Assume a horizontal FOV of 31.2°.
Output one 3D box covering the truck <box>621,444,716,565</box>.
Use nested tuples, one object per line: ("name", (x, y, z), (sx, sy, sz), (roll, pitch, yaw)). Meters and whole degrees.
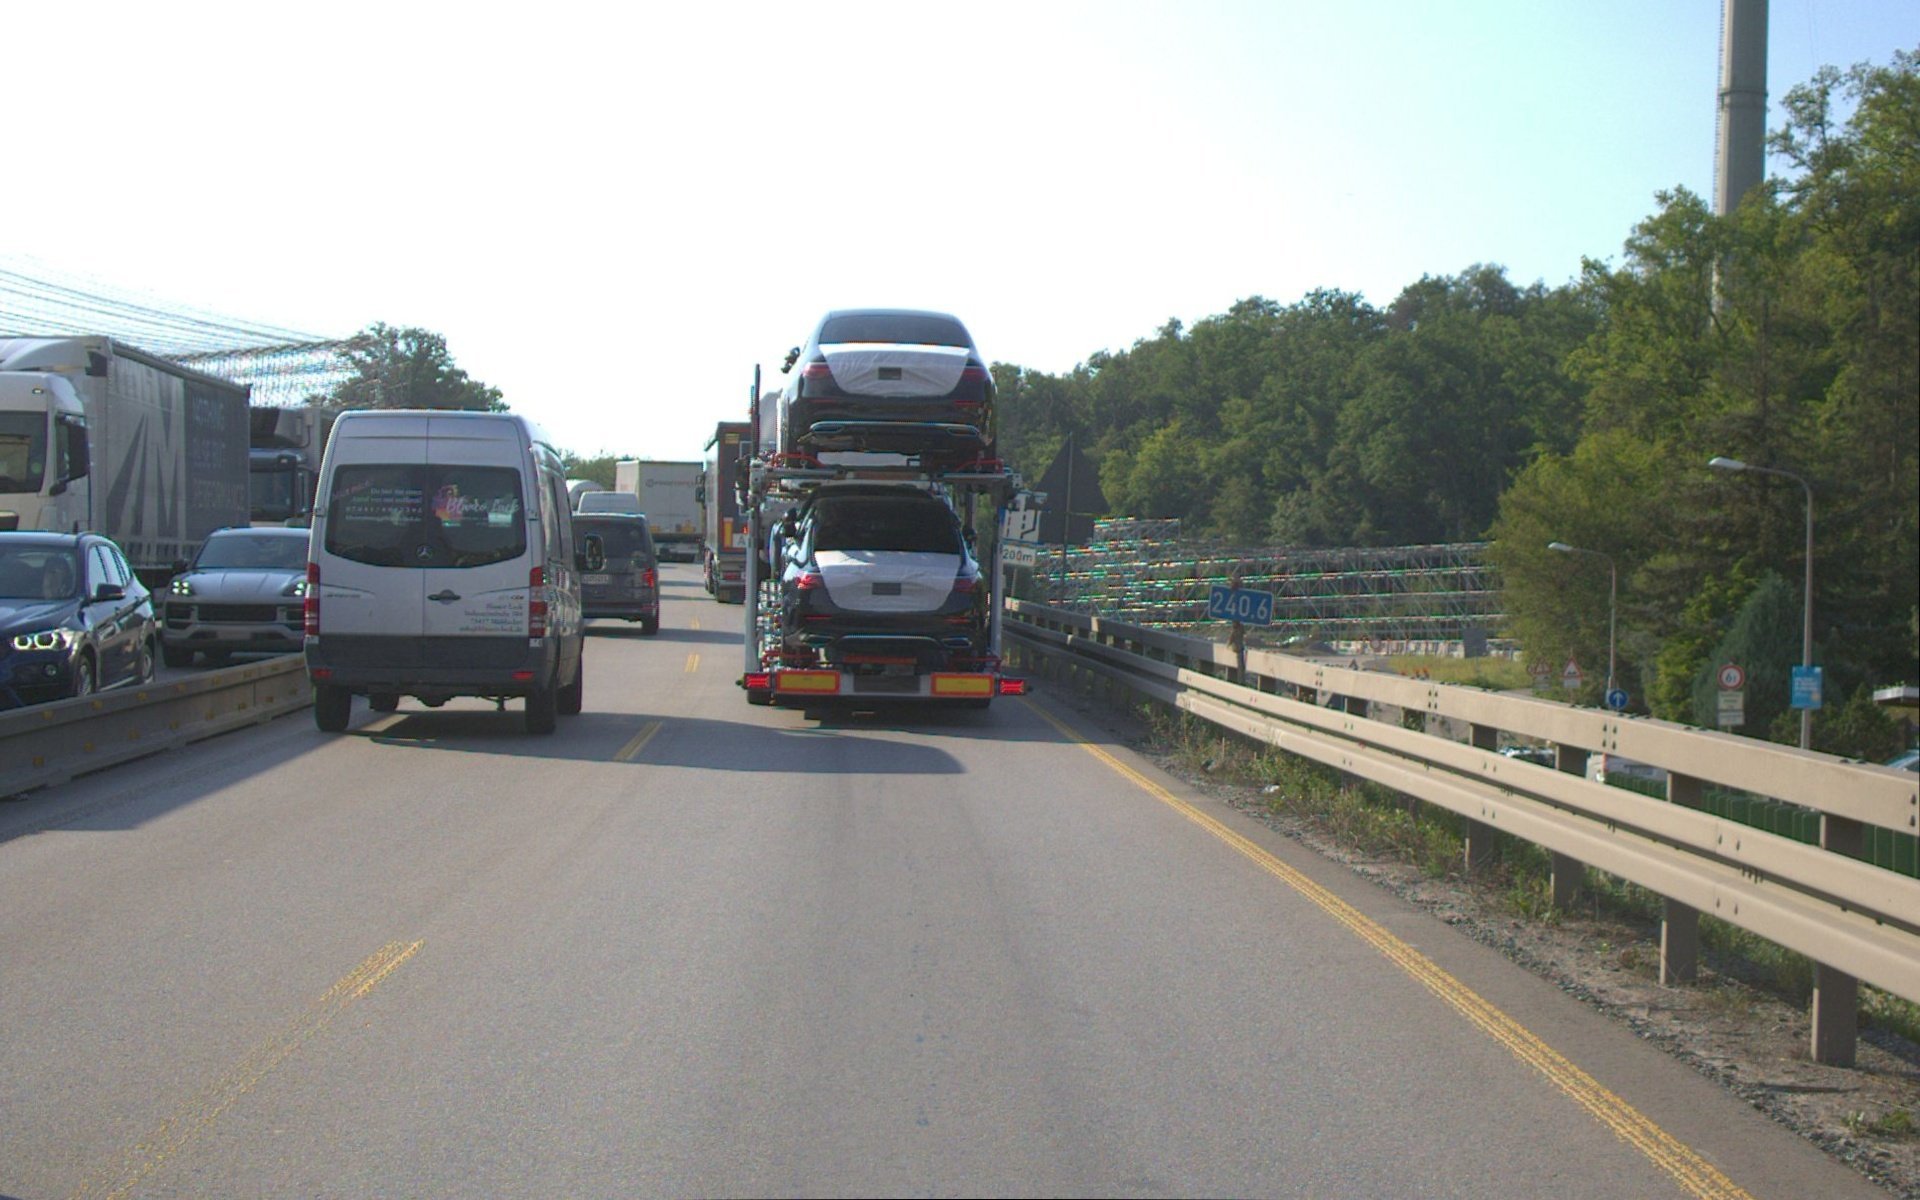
("truck", (-11.953, -3.969, 141.160), (3.647, 4.660, 11.698), (1, 2, -5))

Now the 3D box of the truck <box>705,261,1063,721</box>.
("truck", (-0.870, -0.973, 32.843), (2.869, 3.966, 5.773), (1, 1, -6))

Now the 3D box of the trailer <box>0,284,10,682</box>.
("trailer", (-11.375, -1.210, 30.736), (2.455, 4.305, 13.777), (1, 1, -2))

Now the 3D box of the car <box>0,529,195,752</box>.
("car", (-7.597, 0.246, 27.455), (1.880, 1.601, 4.731), (3, 0, -1))

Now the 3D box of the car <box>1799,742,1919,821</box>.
("car", (20.697, 3.926, 73.479), (5.090, 1.551, 1.715), (2, -1, 2))

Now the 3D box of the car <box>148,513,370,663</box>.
("car", (-8.630, -0.158, 42.735), (2.007, 1.649, 4.975), (3, 0, -4))

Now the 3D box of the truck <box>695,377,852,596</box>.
("truck", (-4.495, -2.659, 80.277), (3.227, 4.660, 11.698), (1, 2, -5))

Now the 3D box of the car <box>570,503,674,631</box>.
("car", (-5.669, -0.550, 57.960), (1.528, 2.007, 4.001), (3, 0, -4))

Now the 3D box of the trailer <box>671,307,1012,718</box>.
("trailer", (-1.786, -0.935, 41.234), (2.874, 3.980, 15.283), (1, 1, -6))

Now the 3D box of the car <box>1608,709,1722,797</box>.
("car", (16.395, 3.540, 80.157), (1.996, 1.910, 4.862), (1, -1, 5))

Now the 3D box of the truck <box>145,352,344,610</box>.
("truck", (-13.118, -2.139, 63.403), (2.919, 4.499, 5.028), (1, 1, -5))

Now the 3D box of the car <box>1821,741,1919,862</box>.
("car", (20.269, 4.105, 68.921), (5.467, 2.256, 2.000), (2, -1, 2))

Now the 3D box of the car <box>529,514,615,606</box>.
("car", (-8.694, -0.884, 77.178), (1.832, 1.957, 4.900), (1, 0, -6))

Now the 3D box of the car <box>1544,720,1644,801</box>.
("car", (16.641, 4.197, 90.418), (1.862, 1.979, 5.051), (1, -1, 2))

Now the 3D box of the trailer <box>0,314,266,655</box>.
("trailer", (-12.315, -1.504, 49.252), (2.775, 4.189, 13.835), (1, 1, -4))

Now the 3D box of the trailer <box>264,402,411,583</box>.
("trailer", (-15.171, -2.576, 84.569), (2.714, 4.108, 12.495), (0, 1, -6))

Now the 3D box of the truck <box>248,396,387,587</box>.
("truck", (-14.255, -2.394, 76.570), (2.748, 4.101, 5.032), (0, 1, -7))

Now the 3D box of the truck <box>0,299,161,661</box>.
("truck", (-11.907, -1.435, 42.866), (2.764, 4.189, 6.116), (1, 1, -4))

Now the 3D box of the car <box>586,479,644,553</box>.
("car", (-9.967, -2.406, 99.297), (1.528, 2.007, 4.001), (3, 0, -6))

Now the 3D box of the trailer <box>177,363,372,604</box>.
("trailer", (-13.551, -2.246, 68.502), (2.911, 4.450, 7.154), (2, 1, -5))

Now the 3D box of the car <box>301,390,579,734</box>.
("car", (-4.312, -0.317, 29.072), (1.979, 2.675, 4.148), (1, 1, -4))

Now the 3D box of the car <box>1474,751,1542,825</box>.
("car", (13.010, 4.438, 81.712), (1.526, 1.456, 4.266), (1, 1, 8))
